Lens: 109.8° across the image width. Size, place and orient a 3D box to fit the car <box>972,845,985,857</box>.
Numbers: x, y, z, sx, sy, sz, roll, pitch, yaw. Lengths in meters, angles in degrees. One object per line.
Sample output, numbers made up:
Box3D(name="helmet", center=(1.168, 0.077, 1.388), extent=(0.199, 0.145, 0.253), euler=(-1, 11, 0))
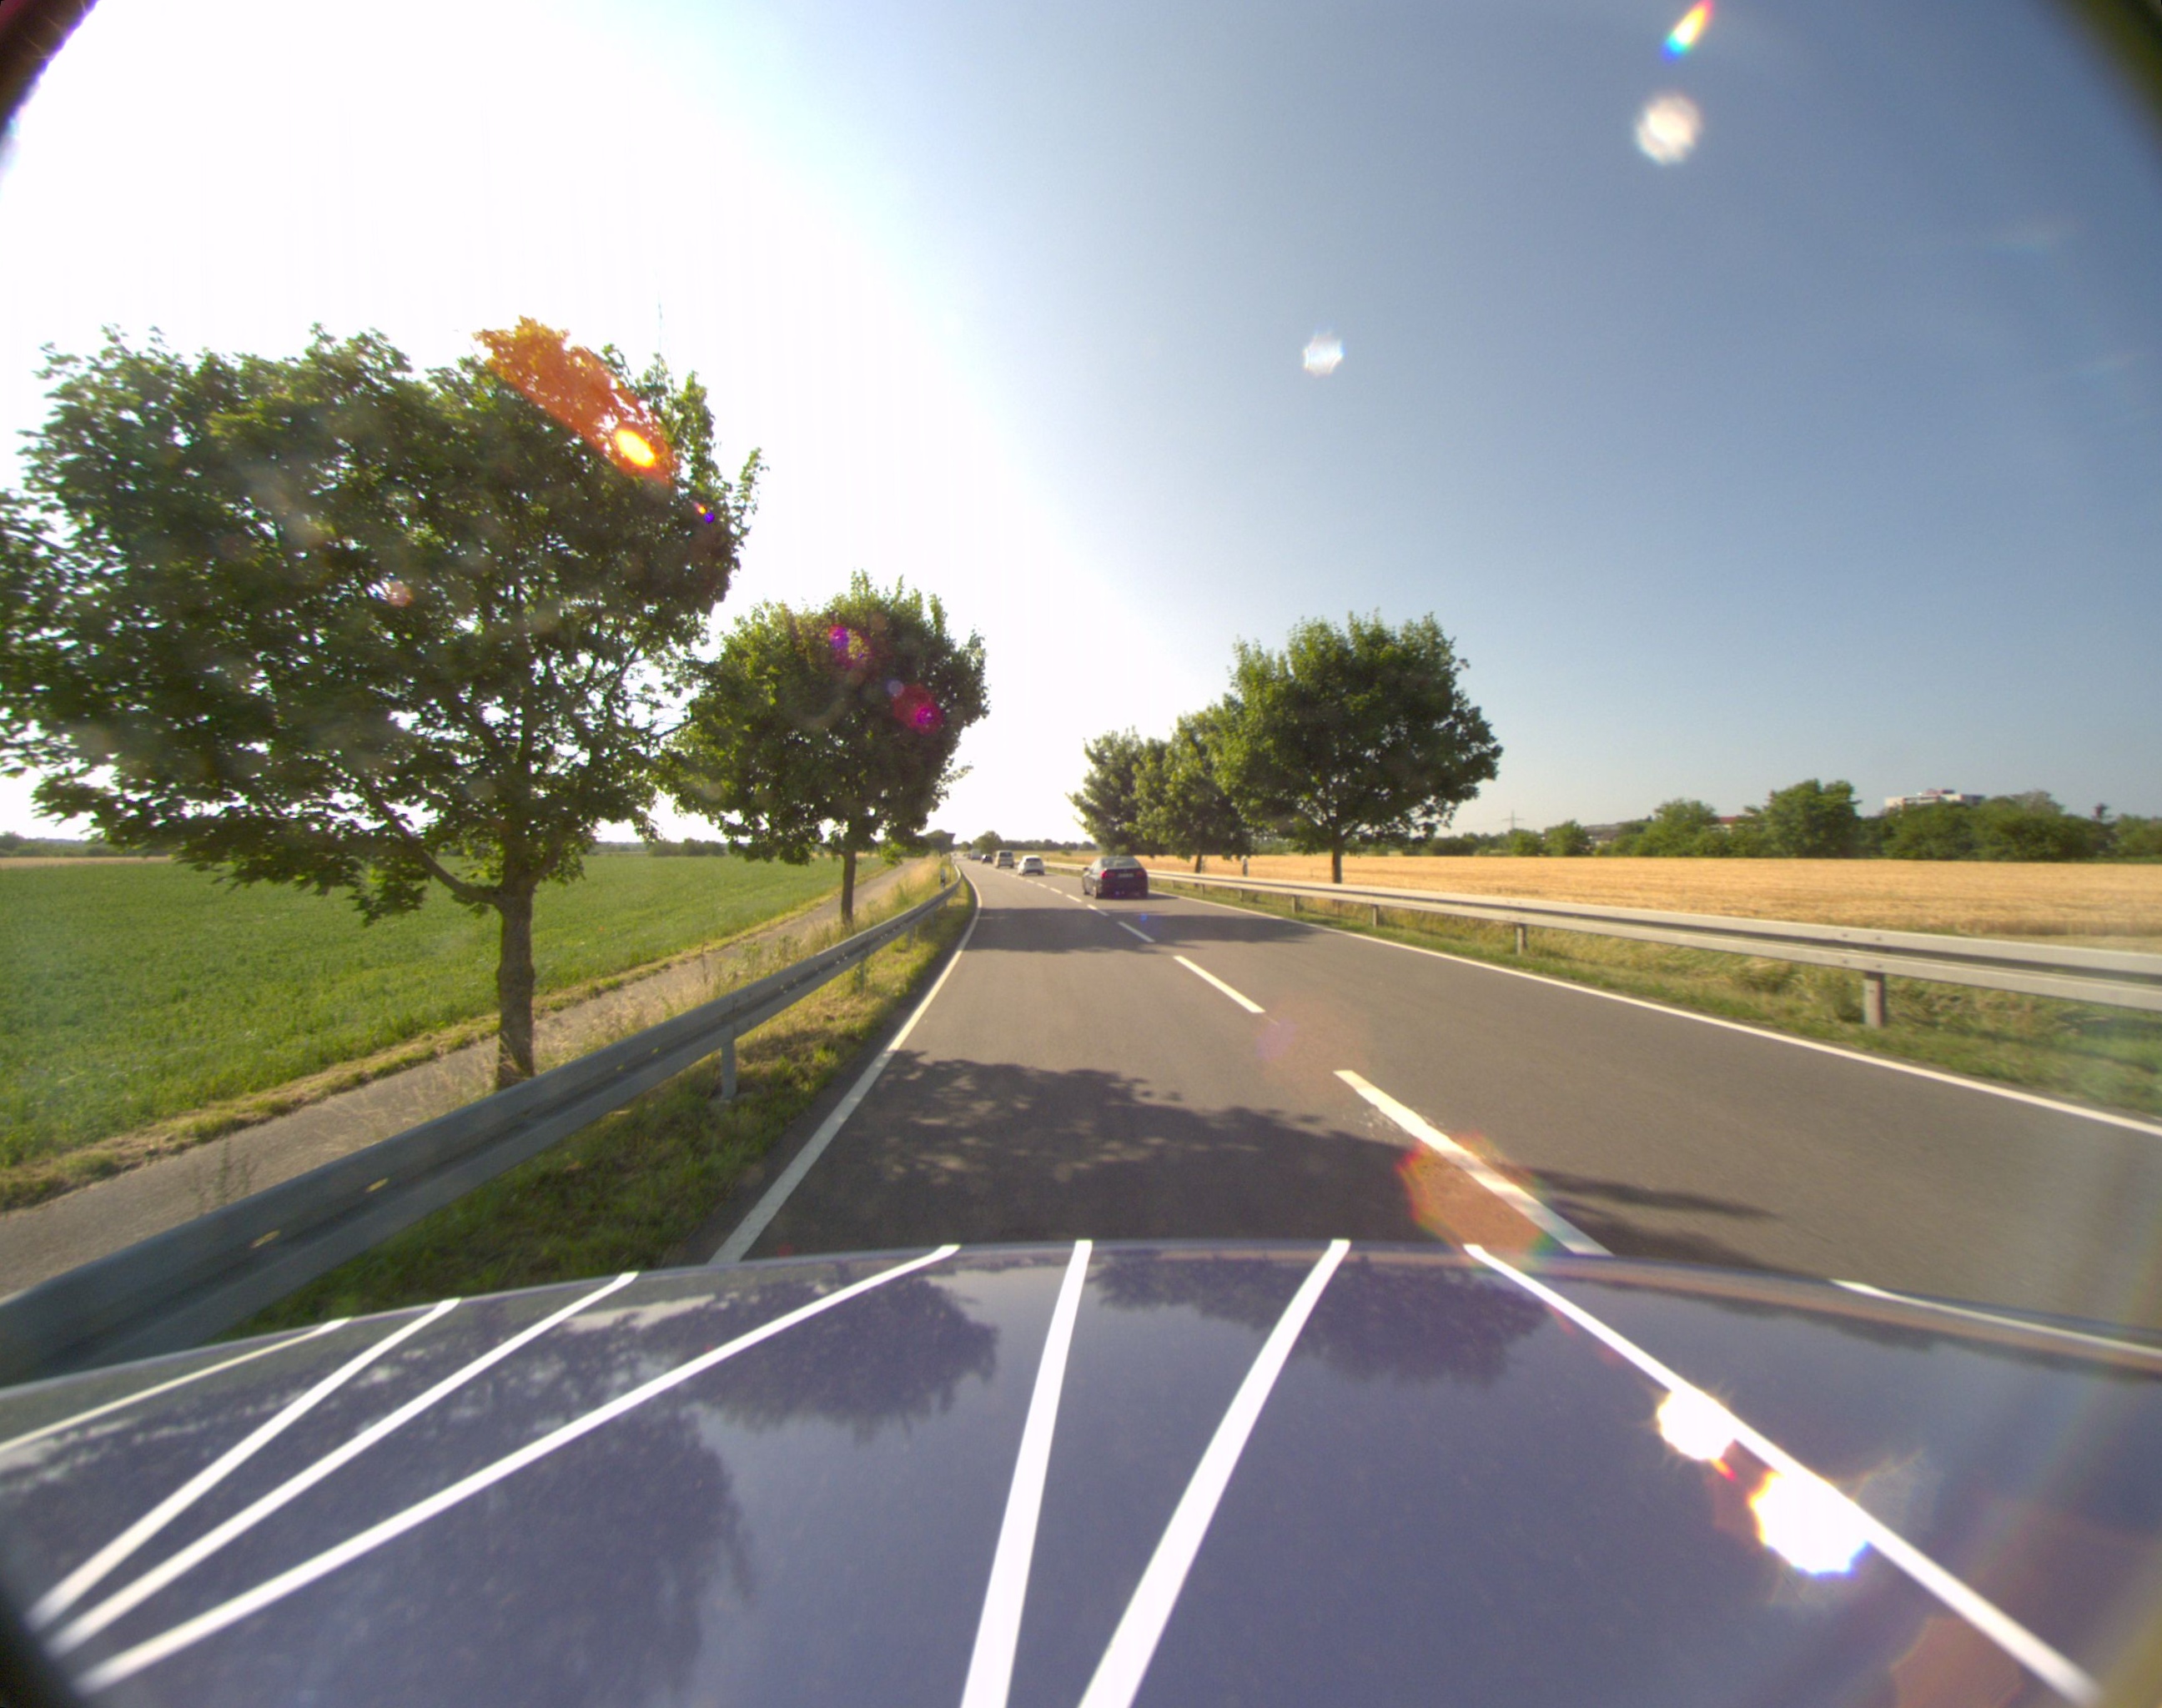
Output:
Box3D(name="car", center=(-22.545, -0.667, 166.917), extent=(2.407, 2.561, 5.369), euler=(-1, 2, -10))

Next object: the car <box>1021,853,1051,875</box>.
Box3D(name="car", center=(-3.376, 0.709, 56.572), extent=(1.757, 1.421, 3.842), euler=(-2, 1, -9))

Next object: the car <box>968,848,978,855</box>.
Box3D(name="car", center=(-28.914, -0.624, 203.577), extent=(2.407, 1.680, 5.367), euler=(0, 3, -10))

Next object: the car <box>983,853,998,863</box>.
Box3D(name="car", center=(-14.664, 0.628, 123.059), extent=(2.015, 1.576, 4.821), euler=(-1, 2, -10))

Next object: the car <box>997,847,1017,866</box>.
Box3D(name="car", center=(-8.249, 0.248, 84.548), extent=(1.918, 2.002, 4.778), euler=(-2, 2, -9))

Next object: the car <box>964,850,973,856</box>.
Box3D(name="car", center=(-33.762, -0.395, 228.095), extent=(2.407, 1.679, 5.369), euler=(-1, 2, -10))

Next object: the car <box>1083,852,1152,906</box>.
Box3D(name="car", center=(1.199, 0.805, 26.920), extent=(1.843, 1.535, 4.241), euler=(-3, 2, -5))
